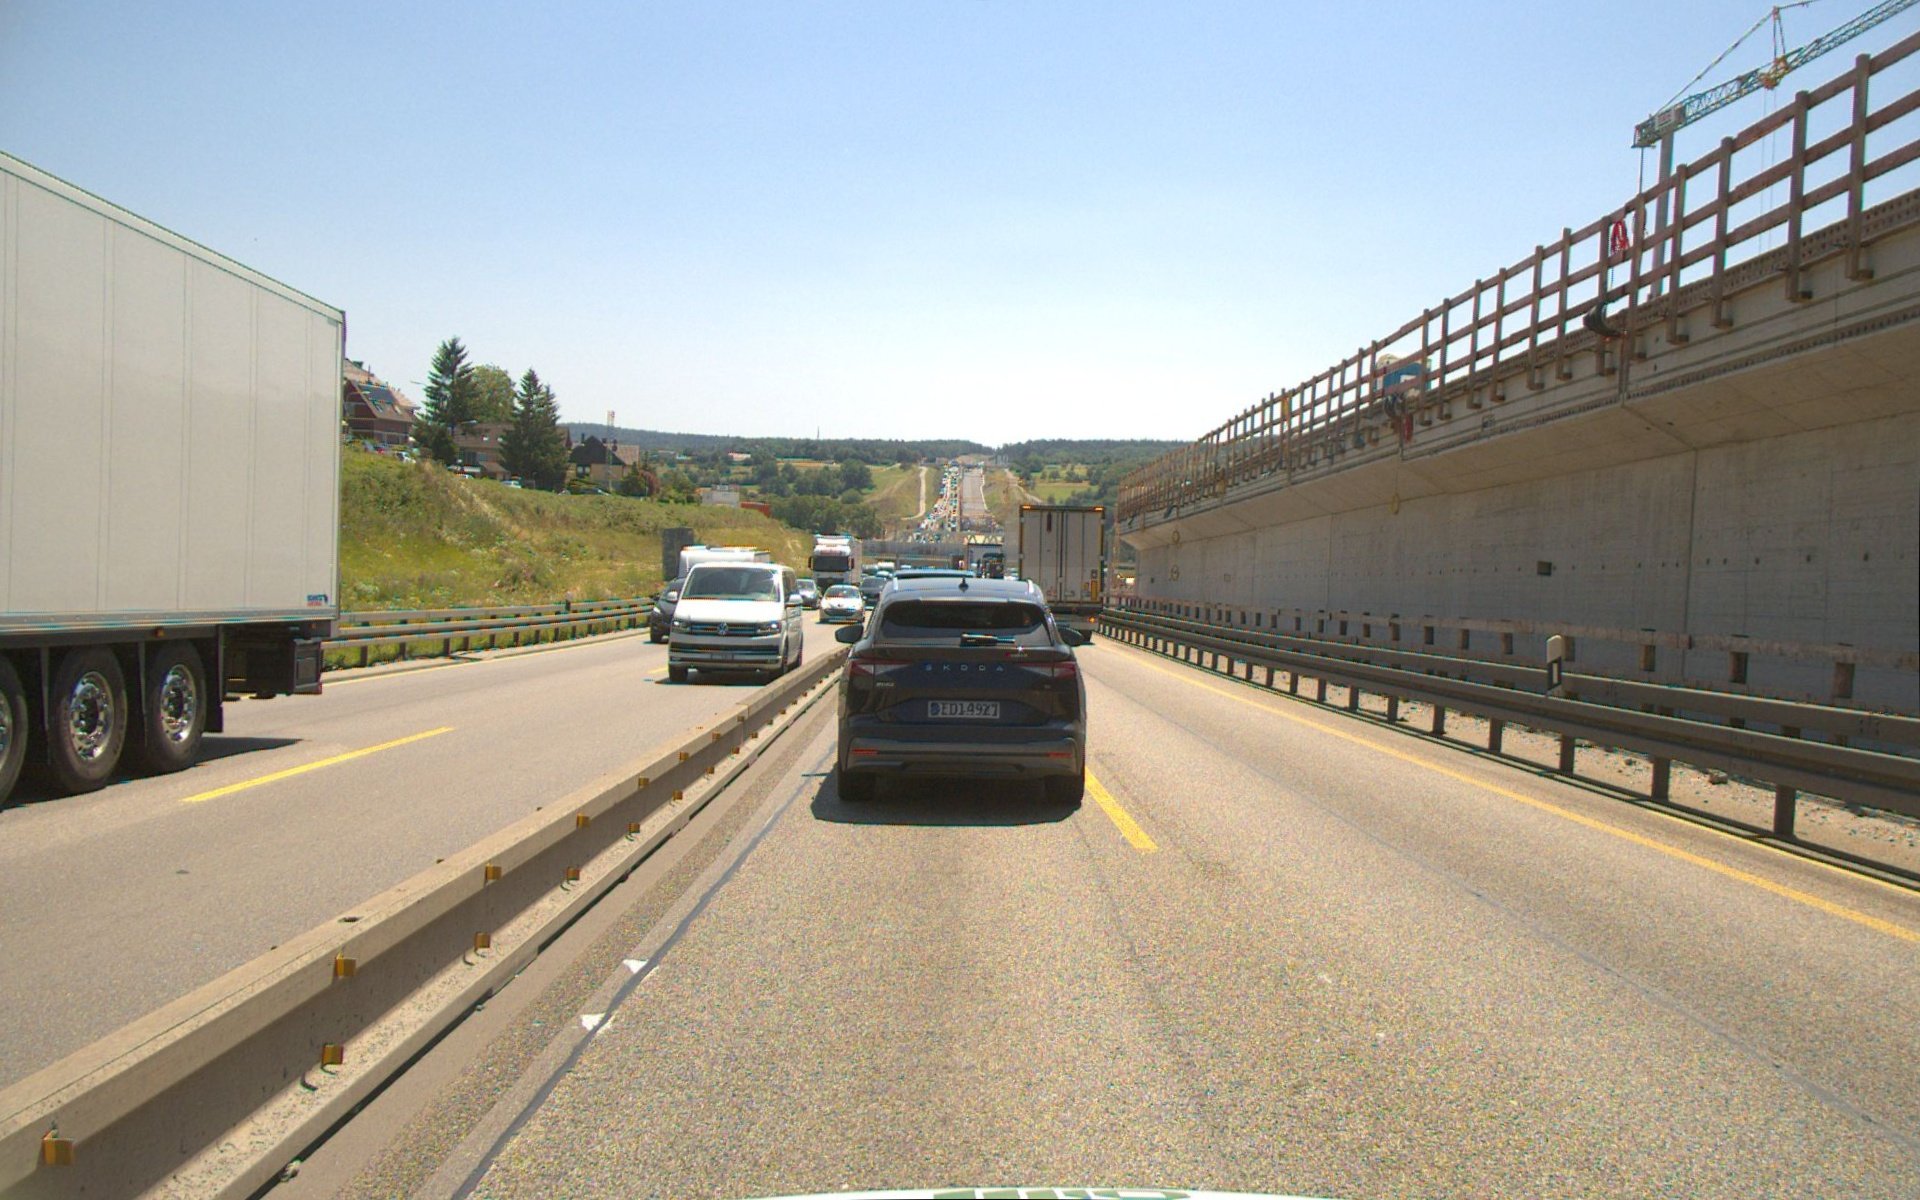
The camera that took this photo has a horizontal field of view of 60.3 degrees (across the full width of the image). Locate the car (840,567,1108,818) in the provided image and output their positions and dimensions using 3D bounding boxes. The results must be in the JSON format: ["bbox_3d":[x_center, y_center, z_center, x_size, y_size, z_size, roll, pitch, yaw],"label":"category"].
[{"bbox_3d":[0.032,0.614,12.871,1.747,1.625,3.753,1,0,-2],"label":"car"}]

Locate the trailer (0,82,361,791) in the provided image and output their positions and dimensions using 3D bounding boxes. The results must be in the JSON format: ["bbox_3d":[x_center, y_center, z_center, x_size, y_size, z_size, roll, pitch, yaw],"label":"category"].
[{"bbox_3d":[-7.319,-0.992,9.284,3.155,4.231,13.405,1,0,-1],"label":"trailer"}]

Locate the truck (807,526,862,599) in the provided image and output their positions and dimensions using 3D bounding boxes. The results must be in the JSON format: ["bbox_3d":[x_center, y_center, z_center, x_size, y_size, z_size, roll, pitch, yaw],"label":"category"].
[{"bbox_3d":[-8.187,-2.383,108.659,2.697,4.300,8.098,5,-1,0],"label":"truck"}]

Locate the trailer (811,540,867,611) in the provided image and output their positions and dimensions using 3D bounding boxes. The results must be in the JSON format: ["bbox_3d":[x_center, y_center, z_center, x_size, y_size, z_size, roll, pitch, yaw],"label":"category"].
[{"bbox_3d":[-8.290,-1.562,115.234,2.705,4.347,14.630,5,-1,-1],"label":"trailer"}]

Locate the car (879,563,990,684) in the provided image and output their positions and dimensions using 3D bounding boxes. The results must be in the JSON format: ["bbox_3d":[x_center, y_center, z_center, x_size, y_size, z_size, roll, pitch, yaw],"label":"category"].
[{"bbox_3d":[-0.514,0.395,29.677,1.715,1.928,3.752,4,0,-3],"label":"car"}]

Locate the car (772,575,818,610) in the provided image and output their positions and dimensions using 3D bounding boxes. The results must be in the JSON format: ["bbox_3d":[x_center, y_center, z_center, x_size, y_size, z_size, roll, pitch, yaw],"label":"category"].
[{"bbox_3d":[-8.053,-0.342,80.833,1.835,1.467,3.999,5,-1,-1],"label":"car"}]

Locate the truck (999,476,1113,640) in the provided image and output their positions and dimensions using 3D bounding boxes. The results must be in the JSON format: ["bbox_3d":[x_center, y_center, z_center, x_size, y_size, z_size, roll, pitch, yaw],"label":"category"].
[{"bbox_3d":[2.937,-1.173,54.251,2.788,4.696,11.809,2,-1,-1],"label":"truck"}]

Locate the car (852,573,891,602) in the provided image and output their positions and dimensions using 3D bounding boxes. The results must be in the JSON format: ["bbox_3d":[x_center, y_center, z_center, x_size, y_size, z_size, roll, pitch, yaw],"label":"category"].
[{"bbox_3d":[-4.495,-0.616,84.407,1.735,1.311,3.999,2,-1,0],"label":"car"}]

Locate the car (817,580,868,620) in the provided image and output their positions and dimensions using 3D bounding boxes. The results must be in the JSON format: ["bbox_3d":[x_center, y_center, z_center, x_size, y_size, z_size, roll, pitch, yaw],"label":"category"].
[{"bbox_3d":[-4.474,0.022,63.470,1.668,1.466,3.999,0,-1,0],"label":"car"}]

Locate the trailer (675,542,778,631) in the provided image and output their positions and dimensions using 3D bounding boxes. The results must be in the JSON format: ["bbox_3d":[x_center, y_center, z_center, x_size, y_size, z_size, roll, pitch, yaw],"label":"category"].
[{"bbox_3d":[-7.393,-0.374,53.025,2.434,2.659,5.866,0,-1,0],"label":"trailer"}]

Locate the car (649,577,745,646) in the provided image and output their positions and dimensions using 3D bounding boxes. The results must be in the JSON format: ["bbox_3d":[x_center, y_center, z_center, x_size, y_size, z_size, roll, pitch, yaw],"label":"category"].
[{"bbox_3d":[-7.144,0.284,45.332,1.838,1.742,4.647,1,0,0],"label":"car"}]

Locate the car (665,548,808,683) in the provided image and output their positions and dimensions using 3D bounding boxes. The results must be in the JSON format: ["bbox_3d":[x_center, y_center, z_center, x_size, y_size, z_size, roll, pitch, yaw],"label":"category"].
[{"bbox_3d":[-3.711,0.264,28.227,1.825,2.049,4.804,1,-1,-1],"label":"car"}]
